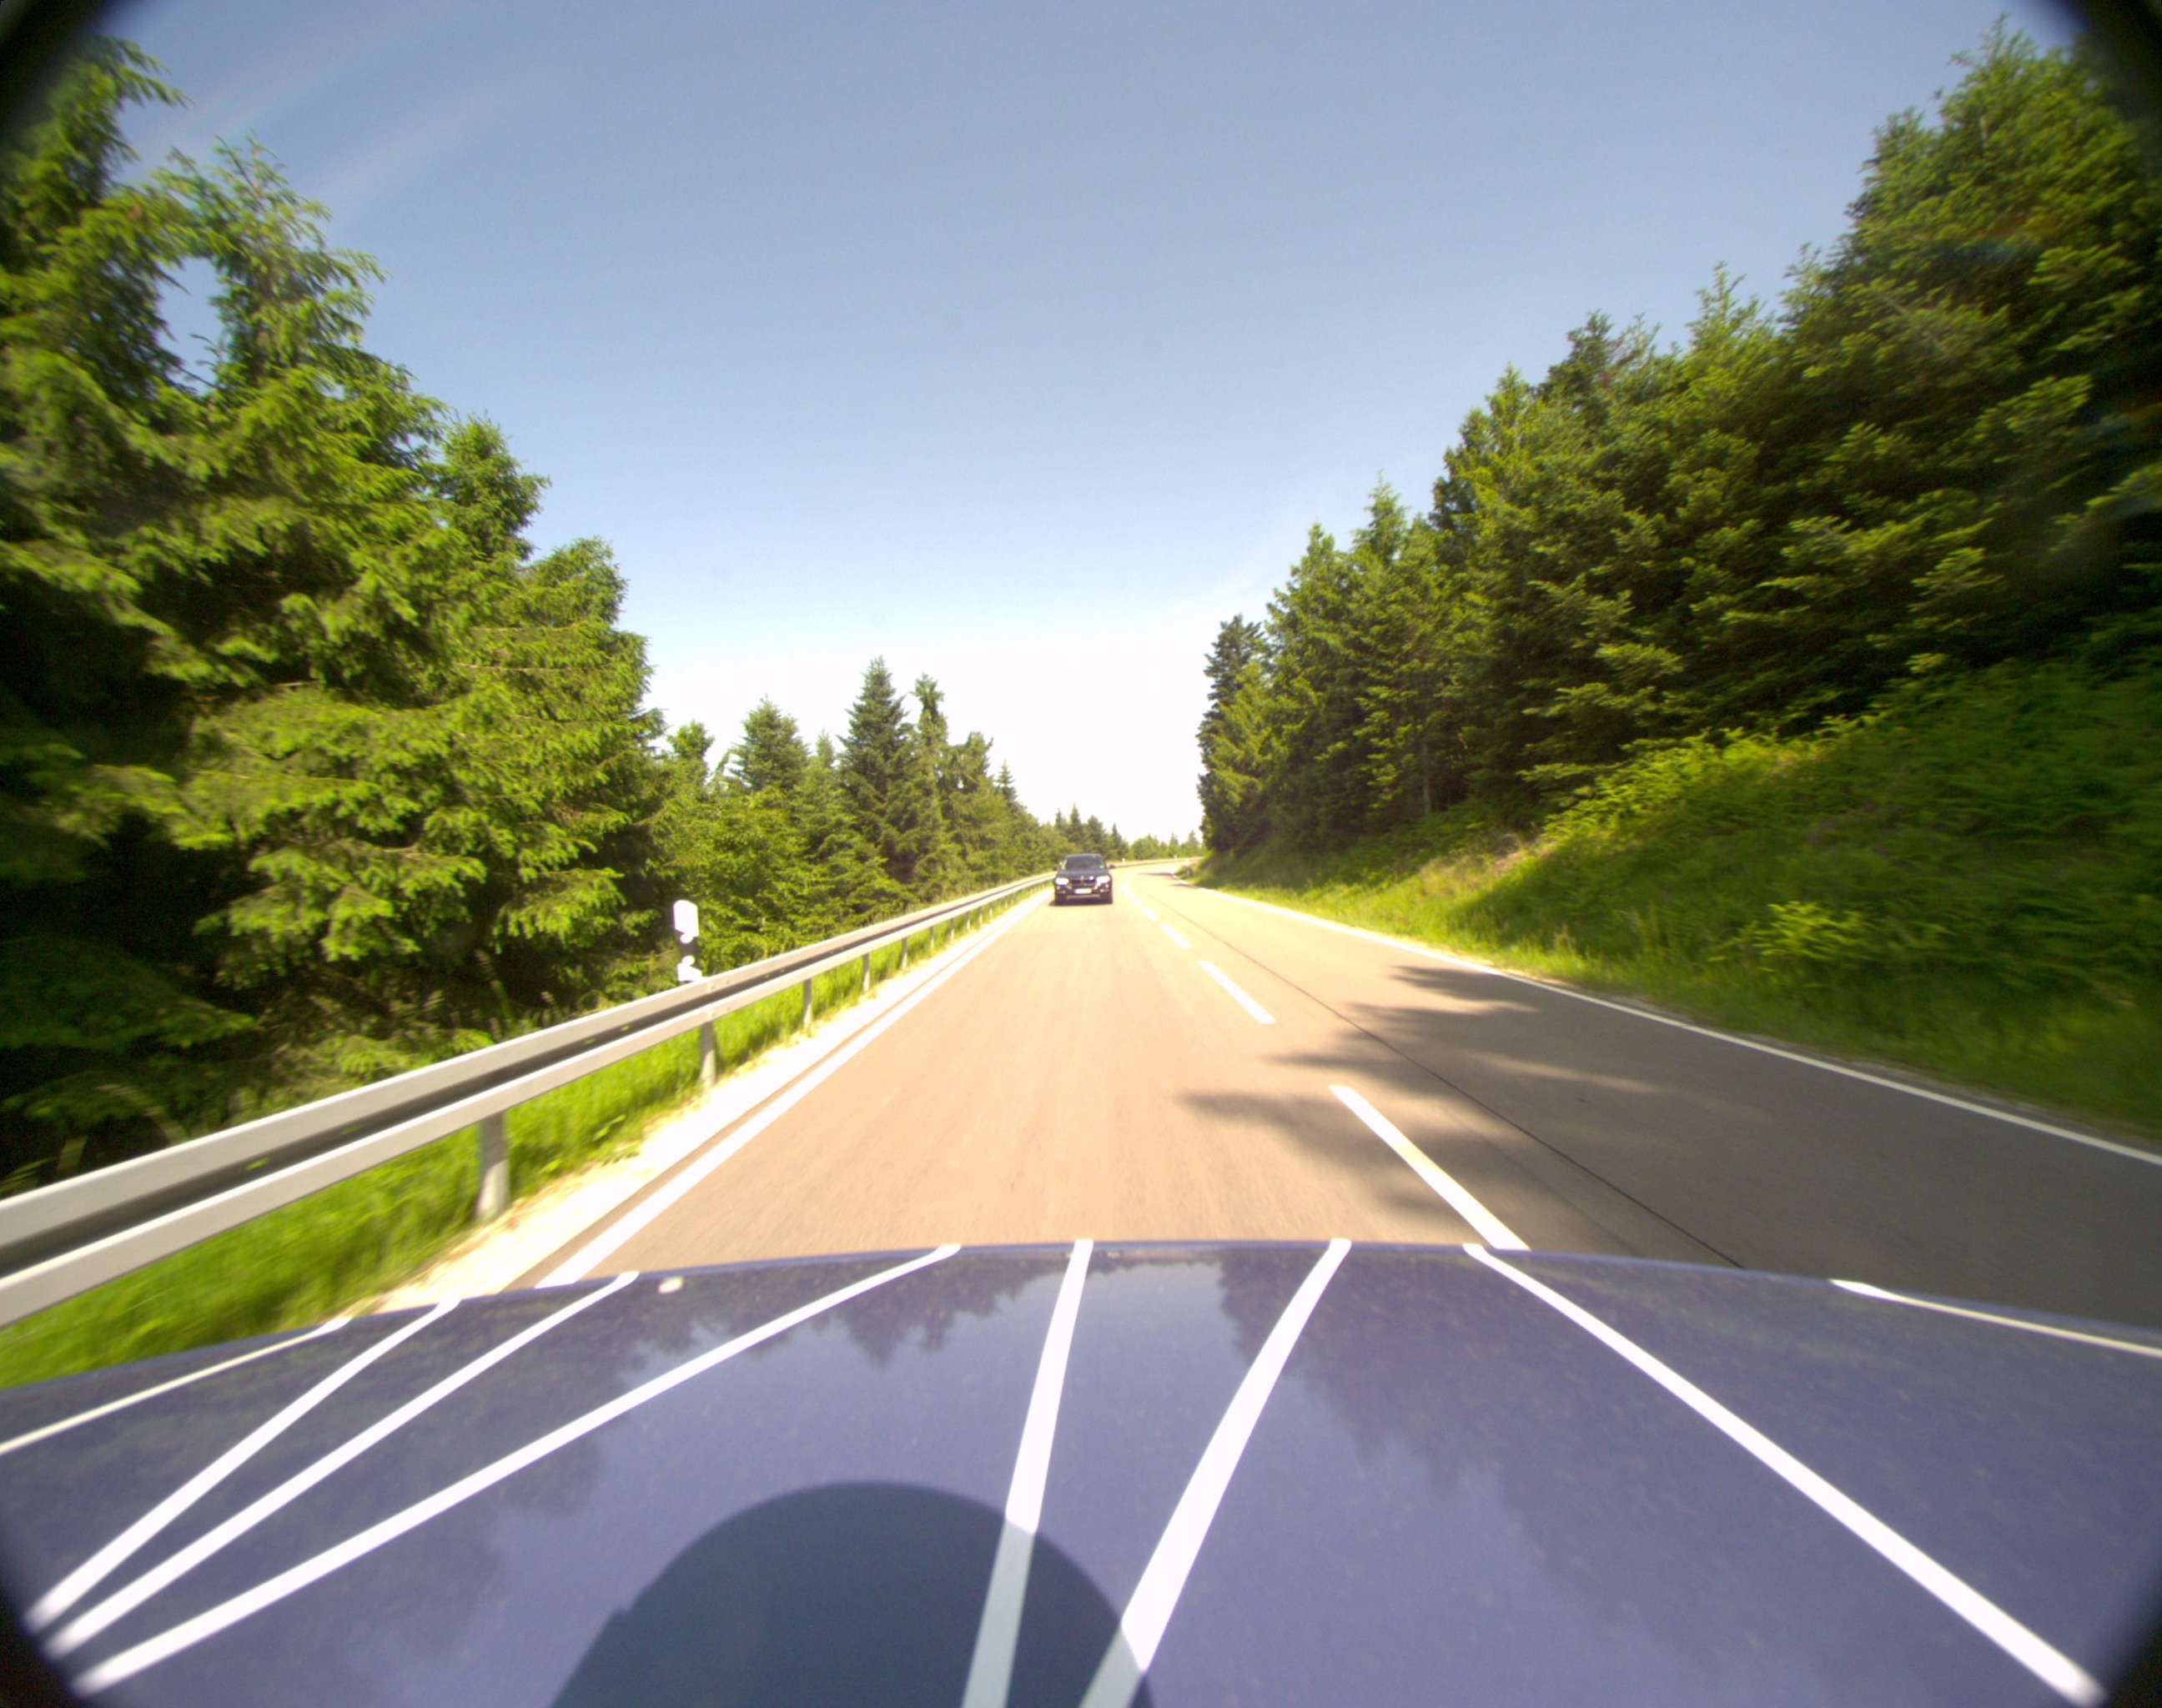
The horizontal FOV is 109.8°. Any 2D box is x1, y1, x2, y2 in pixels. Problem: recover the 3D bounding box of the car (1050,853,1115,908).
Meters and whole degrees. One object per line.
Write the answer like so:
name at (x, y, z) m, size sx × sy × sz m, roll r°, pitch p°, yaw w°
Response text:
car at (0.074, 0.868, 27.422) m, size 1.998 × 1.676 × 5.936 m, roll -3°, pitch 0°, yaw 1°
